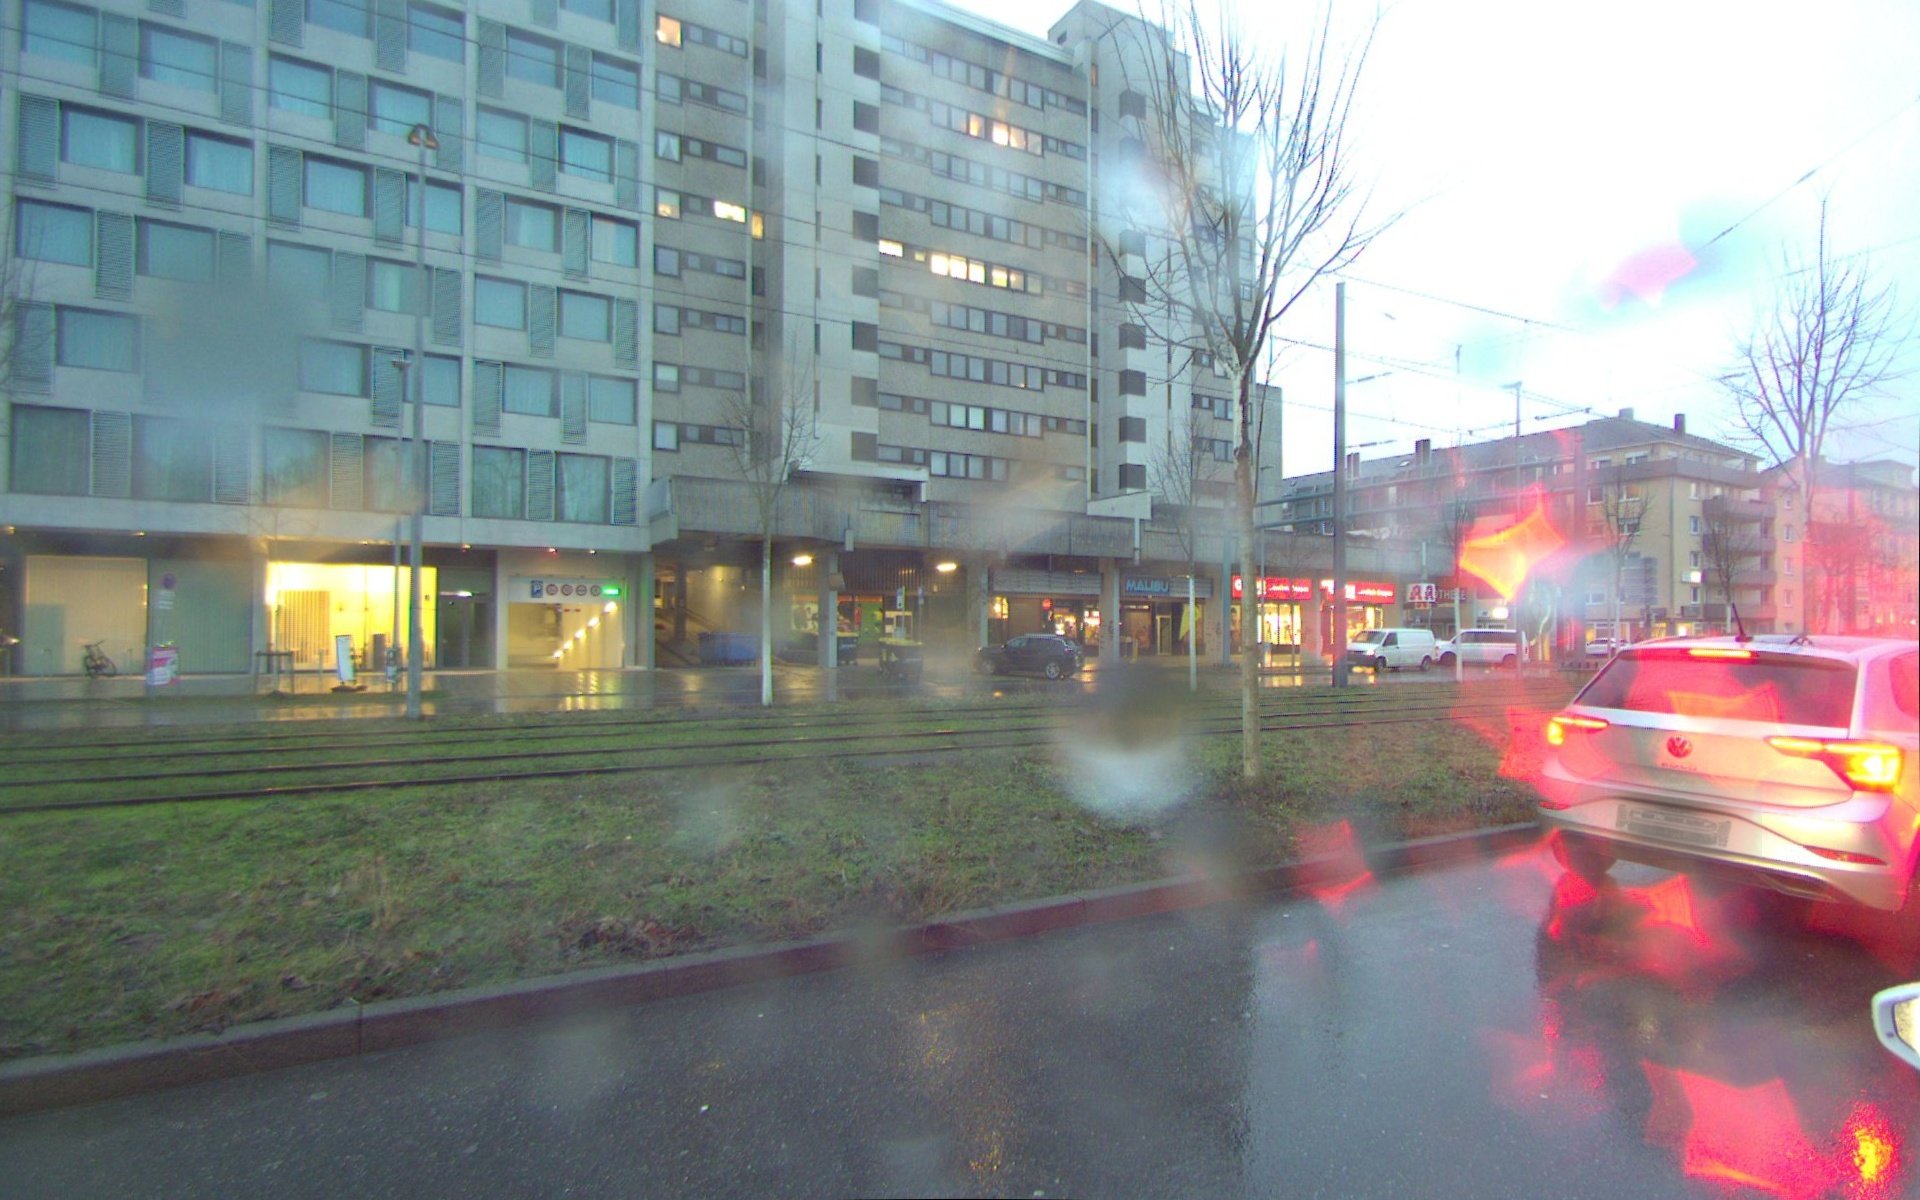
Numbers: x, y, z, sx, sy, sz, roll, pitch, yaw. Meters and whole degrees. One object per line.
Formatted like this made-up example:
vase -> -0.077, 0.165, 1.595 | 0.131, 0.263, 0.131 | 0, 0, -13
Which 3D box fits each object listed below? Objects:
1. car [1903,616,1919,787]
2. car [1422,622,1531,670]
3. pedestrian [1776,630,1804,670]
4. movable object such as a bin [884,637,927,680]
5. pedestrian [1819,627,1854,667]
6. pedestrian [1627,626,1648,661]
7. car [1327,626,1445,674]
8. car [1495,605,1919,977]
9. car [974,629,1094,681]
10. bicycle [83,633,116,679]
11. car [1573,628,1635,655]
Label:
car -> 10.707, 0.905, 9.218 | 4.532, 1.486, 1.791 | 1, -2, -30
car -> 27.136, 2.399, 52.913 | 4.734, 2.274, 2.001 | 2, 0, 15
pedestrian -> 42.840, 2.571, 51.872 | 1.055, 2.040, 1.003 | -1, -2, 39
movable object such as a bin -> -1.900, 2.021, 35.013 | 1.023, 1.445, 1.061 | 2, 0, -41
pedestrian -> 45.293, 2.413, 51.942 | 1.253, 2.040, 1.004 | -1, -2, 36
pedestrian -> 40.311, 2.571, 59.780 | 0.990, 2.040, 0.959 | -1, -2, 32
car -> 20.039, 2.350, 47.217 | 5.491, 2.073, 1.987 | 2, 0, -26
car -> 5.155, 0.845, 5.961 | 3.953, 1.554, 1.685 | 1, -1, -30
car -> 2.815, 2.063, 38.336 | 4.066, 1.715, 1.982 | 2, 0, 28
bicycle -> -25.133, 1.611, 29.354 | 0.460, 1.255, 1.527 | 2, 0, -31
car -> 51.358, 3.265, 80.156 | 1.826, 1.968, 3.720 | 2, 0, -37
